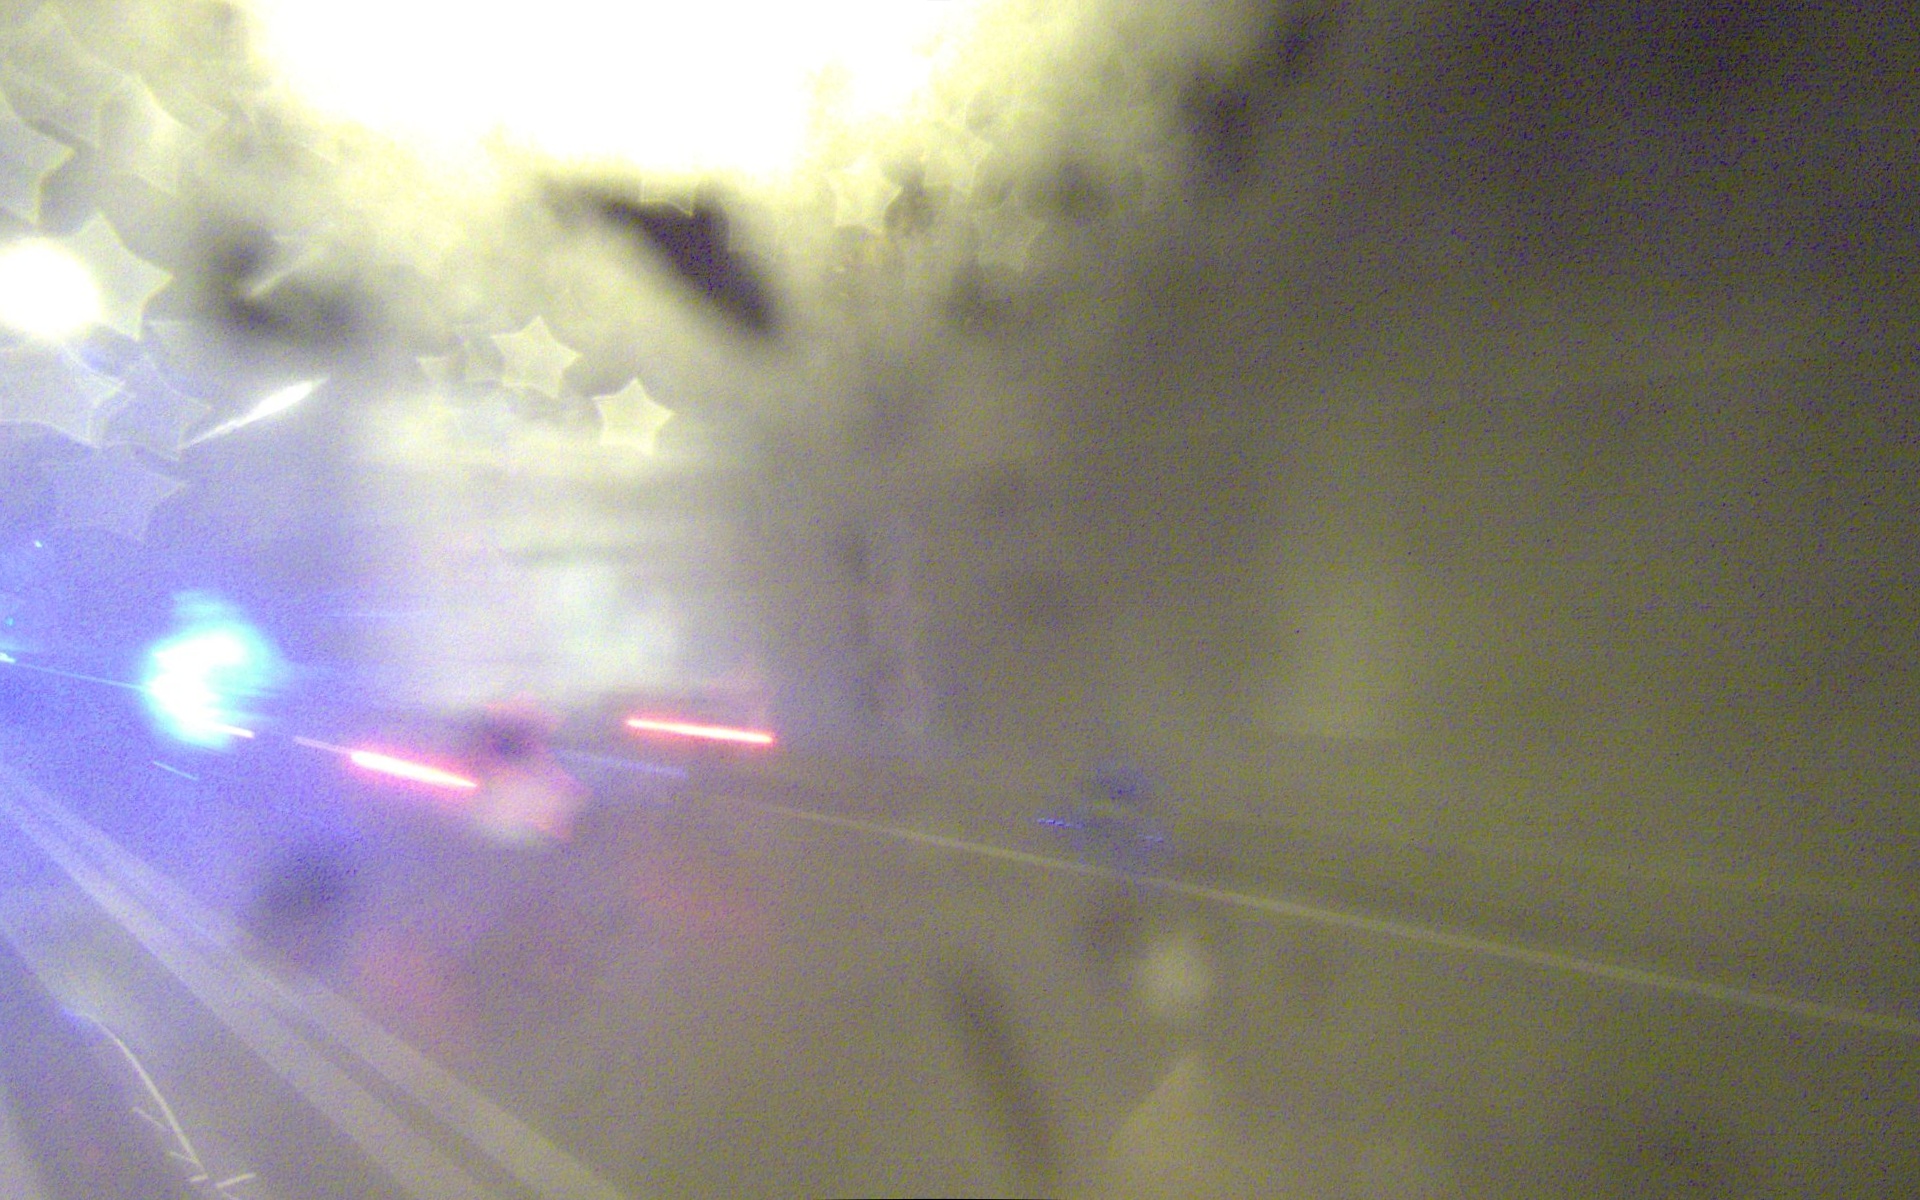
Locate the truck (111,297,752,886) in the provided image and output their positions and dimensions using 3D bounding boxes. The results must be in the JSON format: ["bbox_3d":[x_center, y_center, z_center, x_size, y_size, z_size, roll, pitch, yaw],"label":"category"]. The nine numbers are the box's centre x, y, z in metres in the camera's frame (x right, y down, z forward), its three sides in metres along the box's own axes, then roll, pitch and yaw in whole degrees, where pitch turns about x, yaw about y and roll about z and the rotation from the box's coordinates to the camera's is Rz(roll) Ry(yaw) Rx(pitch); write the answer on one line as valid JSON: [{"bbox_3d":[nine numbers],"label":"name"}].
[{"bbox_3d":[-4.686,0.012,8.210,6.588,3.039,2.257,-1,-1,40],"label":"truck"}]
